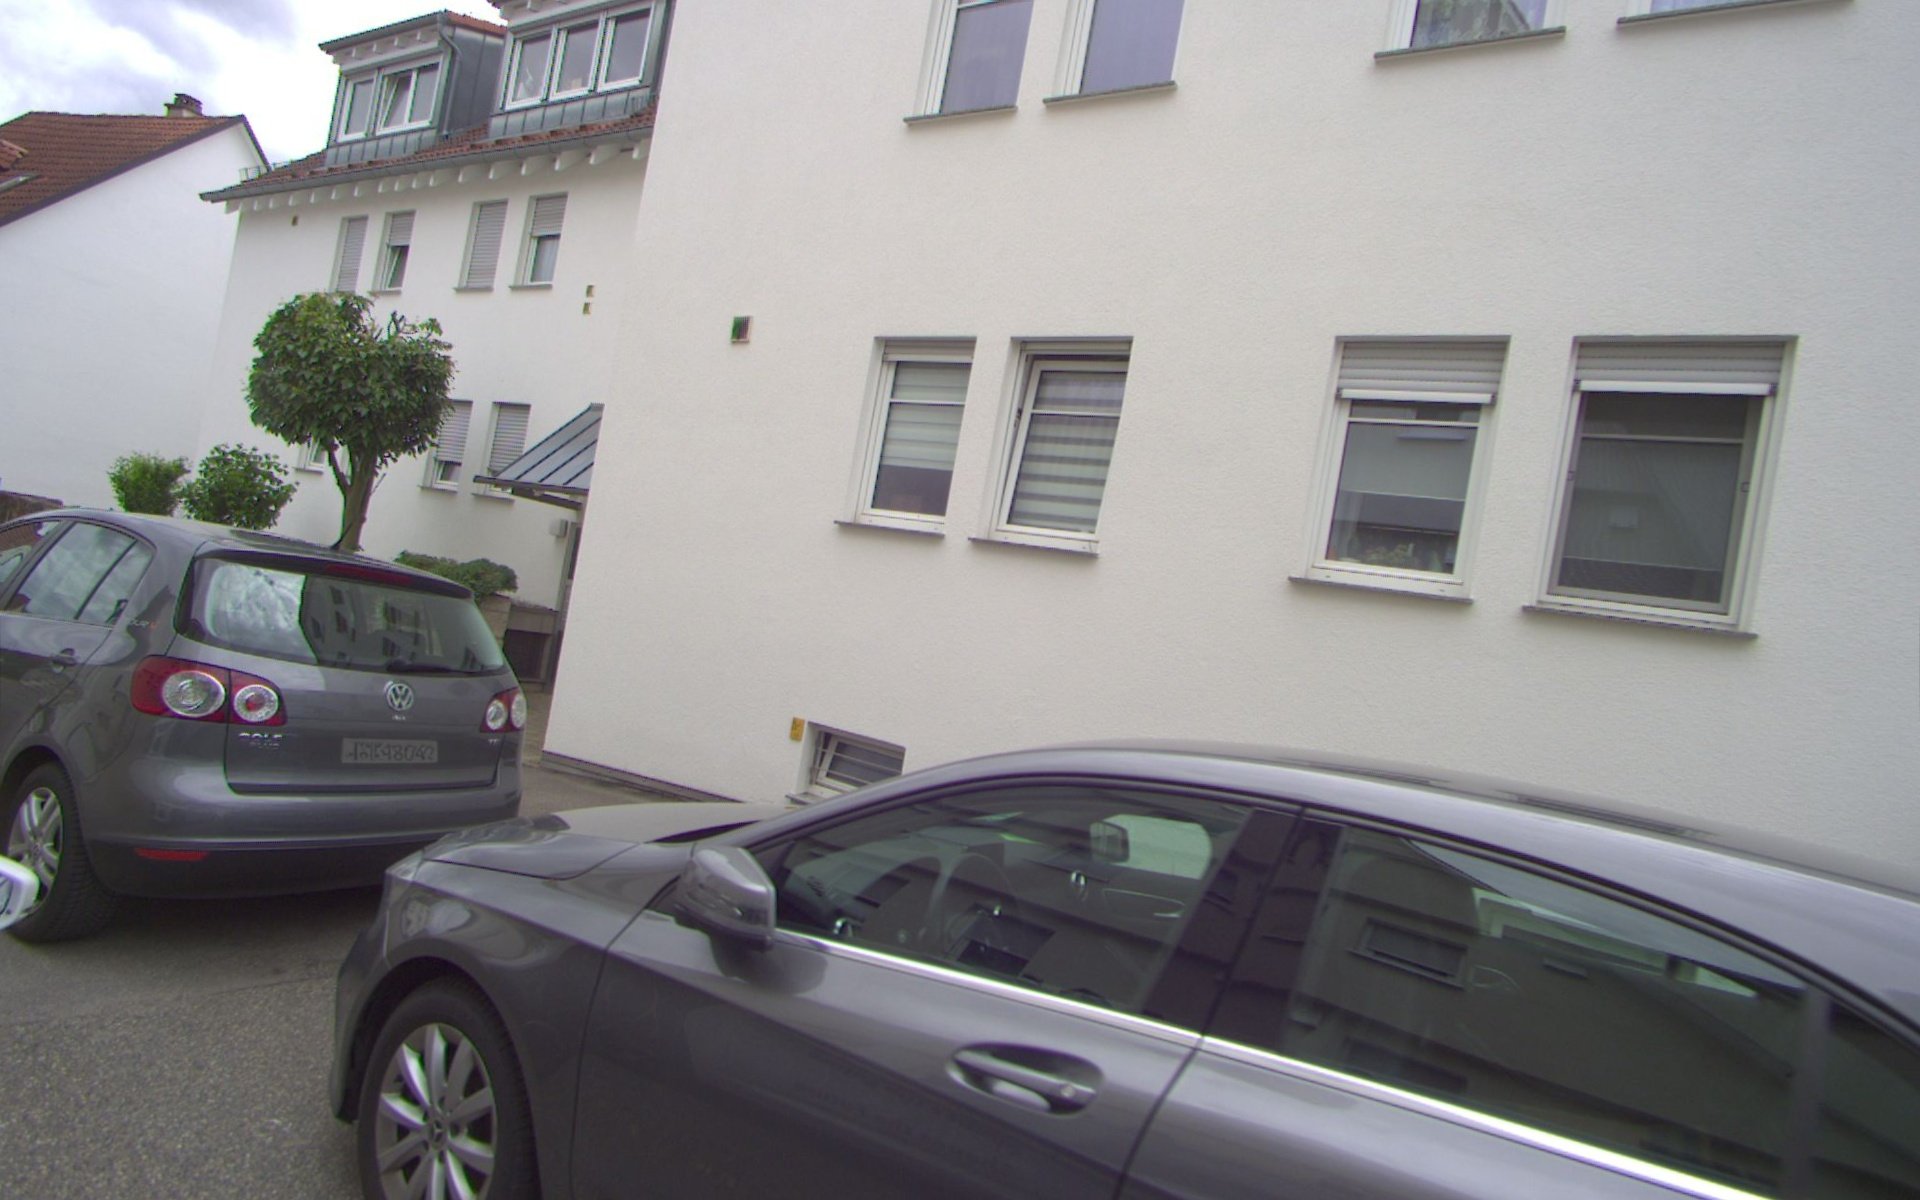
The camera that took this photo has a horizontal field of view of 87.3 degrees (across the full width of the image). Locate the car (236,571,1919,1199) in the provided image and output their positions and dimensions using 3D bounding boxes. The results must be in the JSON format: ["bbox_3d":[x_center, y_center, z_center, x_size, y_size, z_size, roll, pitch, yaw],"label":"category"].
[{"bbox_3d":[0.355,0.968,2.308,3.894,1.457,1.813,7,-5,33],"label":"car"}]

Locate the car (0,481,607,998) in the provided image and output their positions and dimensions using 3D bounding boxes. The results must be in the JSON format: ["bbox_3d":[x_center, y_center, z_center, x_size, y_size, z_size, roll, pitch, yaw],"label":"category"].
[{"bbox_3d":[-3.857,0.396,4.896,3.841,1.580,1.742,7,-4,29],"label":"car"}]
